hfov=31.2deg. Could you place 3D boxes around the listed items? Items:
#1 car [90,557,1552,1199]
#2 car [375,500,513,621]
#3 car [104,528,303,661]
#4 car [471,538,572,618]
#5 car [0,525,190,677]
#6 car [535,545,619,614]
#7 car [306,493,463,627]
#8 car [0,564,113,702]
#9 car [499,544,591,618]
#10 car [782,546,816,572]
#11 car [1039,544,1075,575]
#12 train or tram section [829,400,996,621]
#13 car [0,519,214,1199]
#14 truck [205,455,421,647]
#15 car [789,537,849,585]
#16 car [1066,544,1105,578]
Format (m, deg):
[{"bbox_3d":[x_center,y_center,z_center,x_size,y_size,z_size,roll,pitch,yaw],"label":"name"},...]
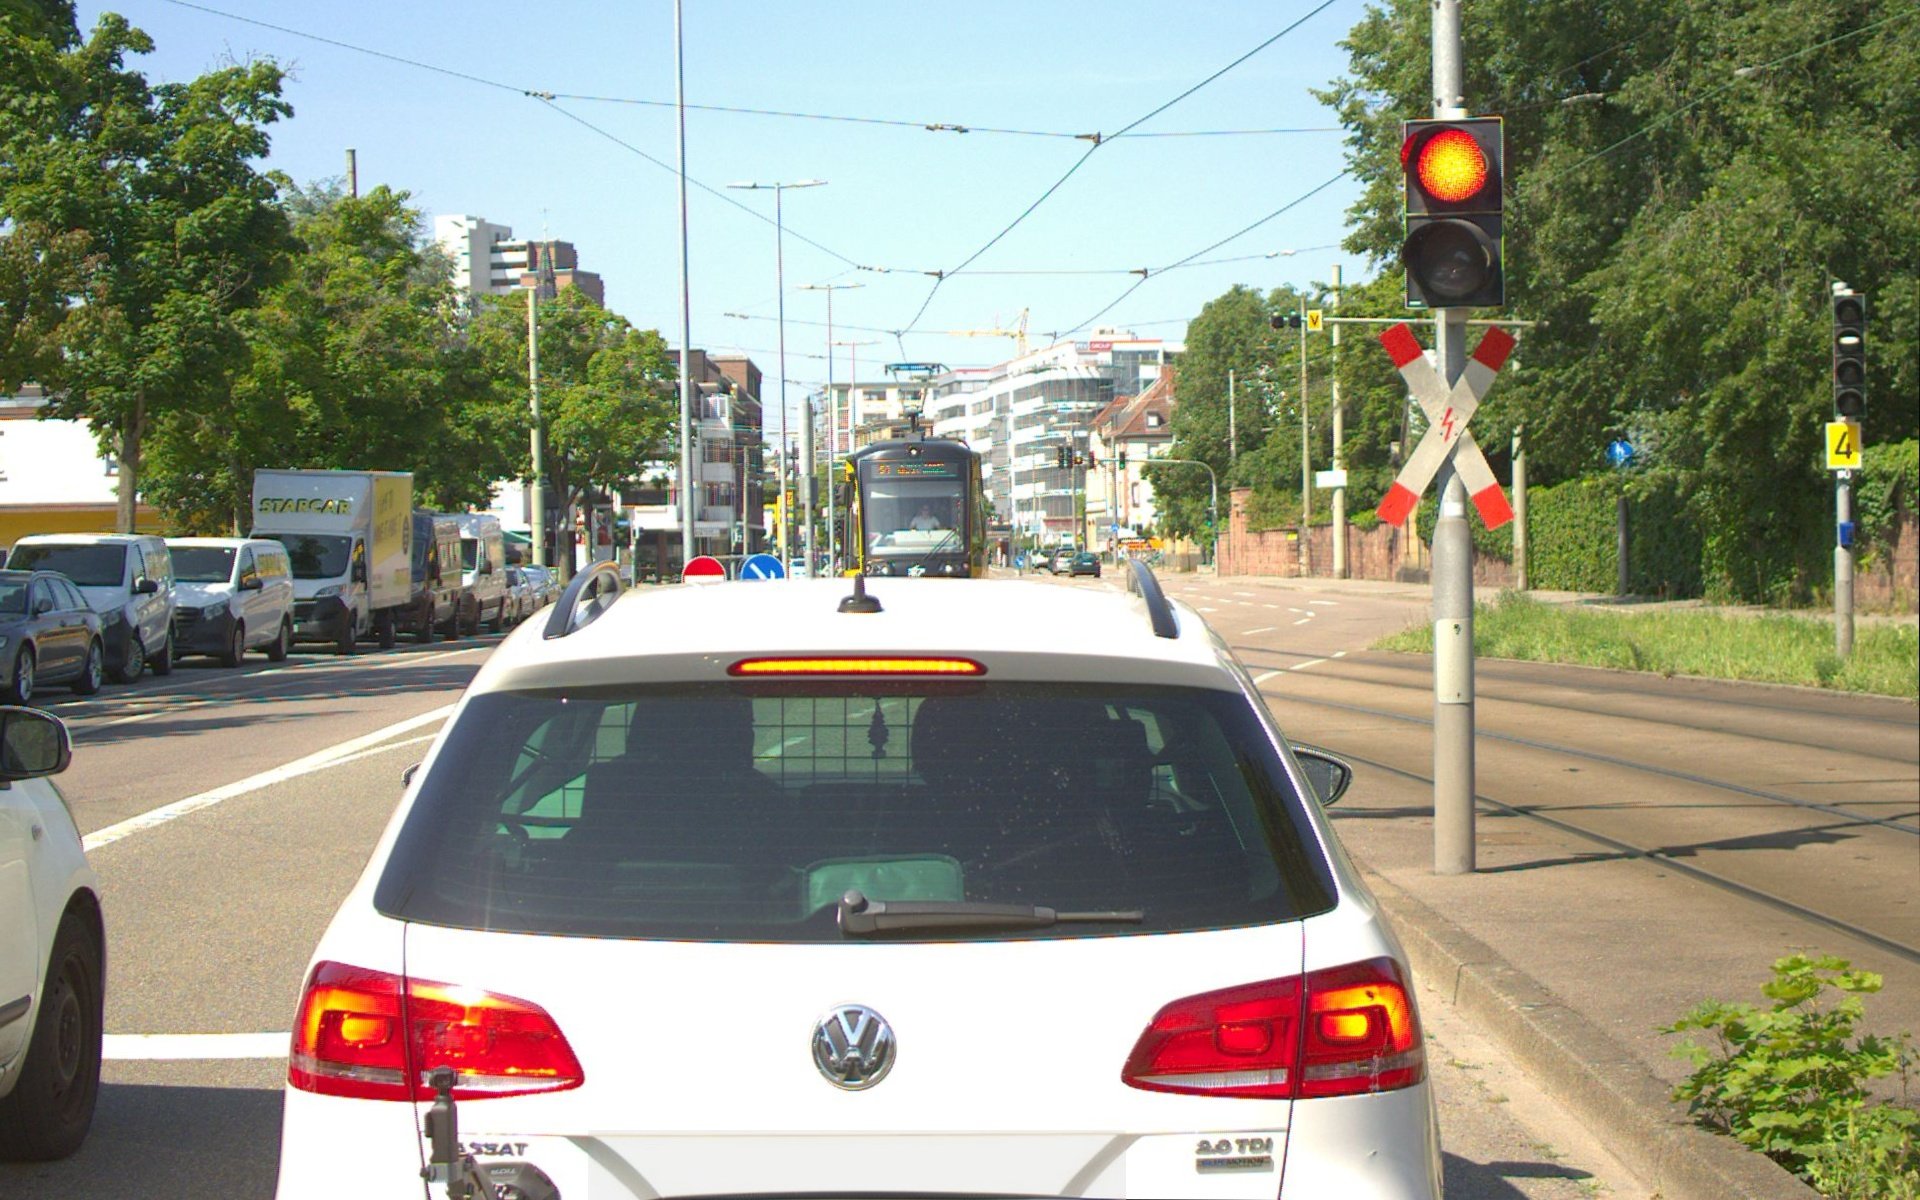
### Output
[{"bbox_3d":[-0.181,0.670,6.195,1.762,1.425,4.000,-1,1,-1],"label":"car"},{"bbox_3d":[-11.320,-0.890,75.762,2.123,2.508,5.733,1,1,0],"label":"car"},{"bbox_3d":[-11.346,-0.131,51.910,1.863,1.861,5.414,1,1,-1],"label":"car"},{"bbox_3d":[-10.781,-0.569,84.876,1.863,1.861,5.414,1,1,-1],"label":"car"},{"bbox_3d":[-11.412,-0.035,45.326,1.863,1.861,5.075,1,1,-6],"label":"car"},{"bbox_3d":[-10.956,-0.614,98.609,1.863,1.861,5.414,1,1,-1],"label":"car"},{"bbox_3d":[-11.368,-0.818,68.325,2.123,2.508,5.733,1,1,0],"label":"car"},{"bbox_3d":[-10.980,0.322,38.747,1.863,1.411,4.280,1,1,-1],"label":"car"},{"bbox_3d":[-11.034,-0.537,91.693,1.863,1.861,5.414,1,1,-1],"label":"car"},{"bbox_3d":[-9.319,-2.384,199.222,1.705,1.468,4.589,-1,1,1],"label":"car"},{"bbox_3d":[5.942,-2.501,210.793,1.863,1.861,5.062,1,1,-1],"label":"car"},{"bbox_3d":[-0.808,-1.711,67.007,2.870,3.842,12.392,-1,1,0],"label":"train or tram section"},{"bbox_3d":[-2.937,0.598,7.361,1.662,1.542,4.547,0,1,0],"label":"car"},{"bbox_3d":[-11.238,-0.876,60.323,2.421,3.139,6.997,1,1,0],"label":"truck"},{"bbox_3d":[-4.595,-1.292,112.483,1.705,1.468,4.589,-2,1,1],"label":"car"},{"bbox_3d":[7.153,-2.263,196.386,1.863,1.861,5.062,1,1,-1],"label":"car"}]
